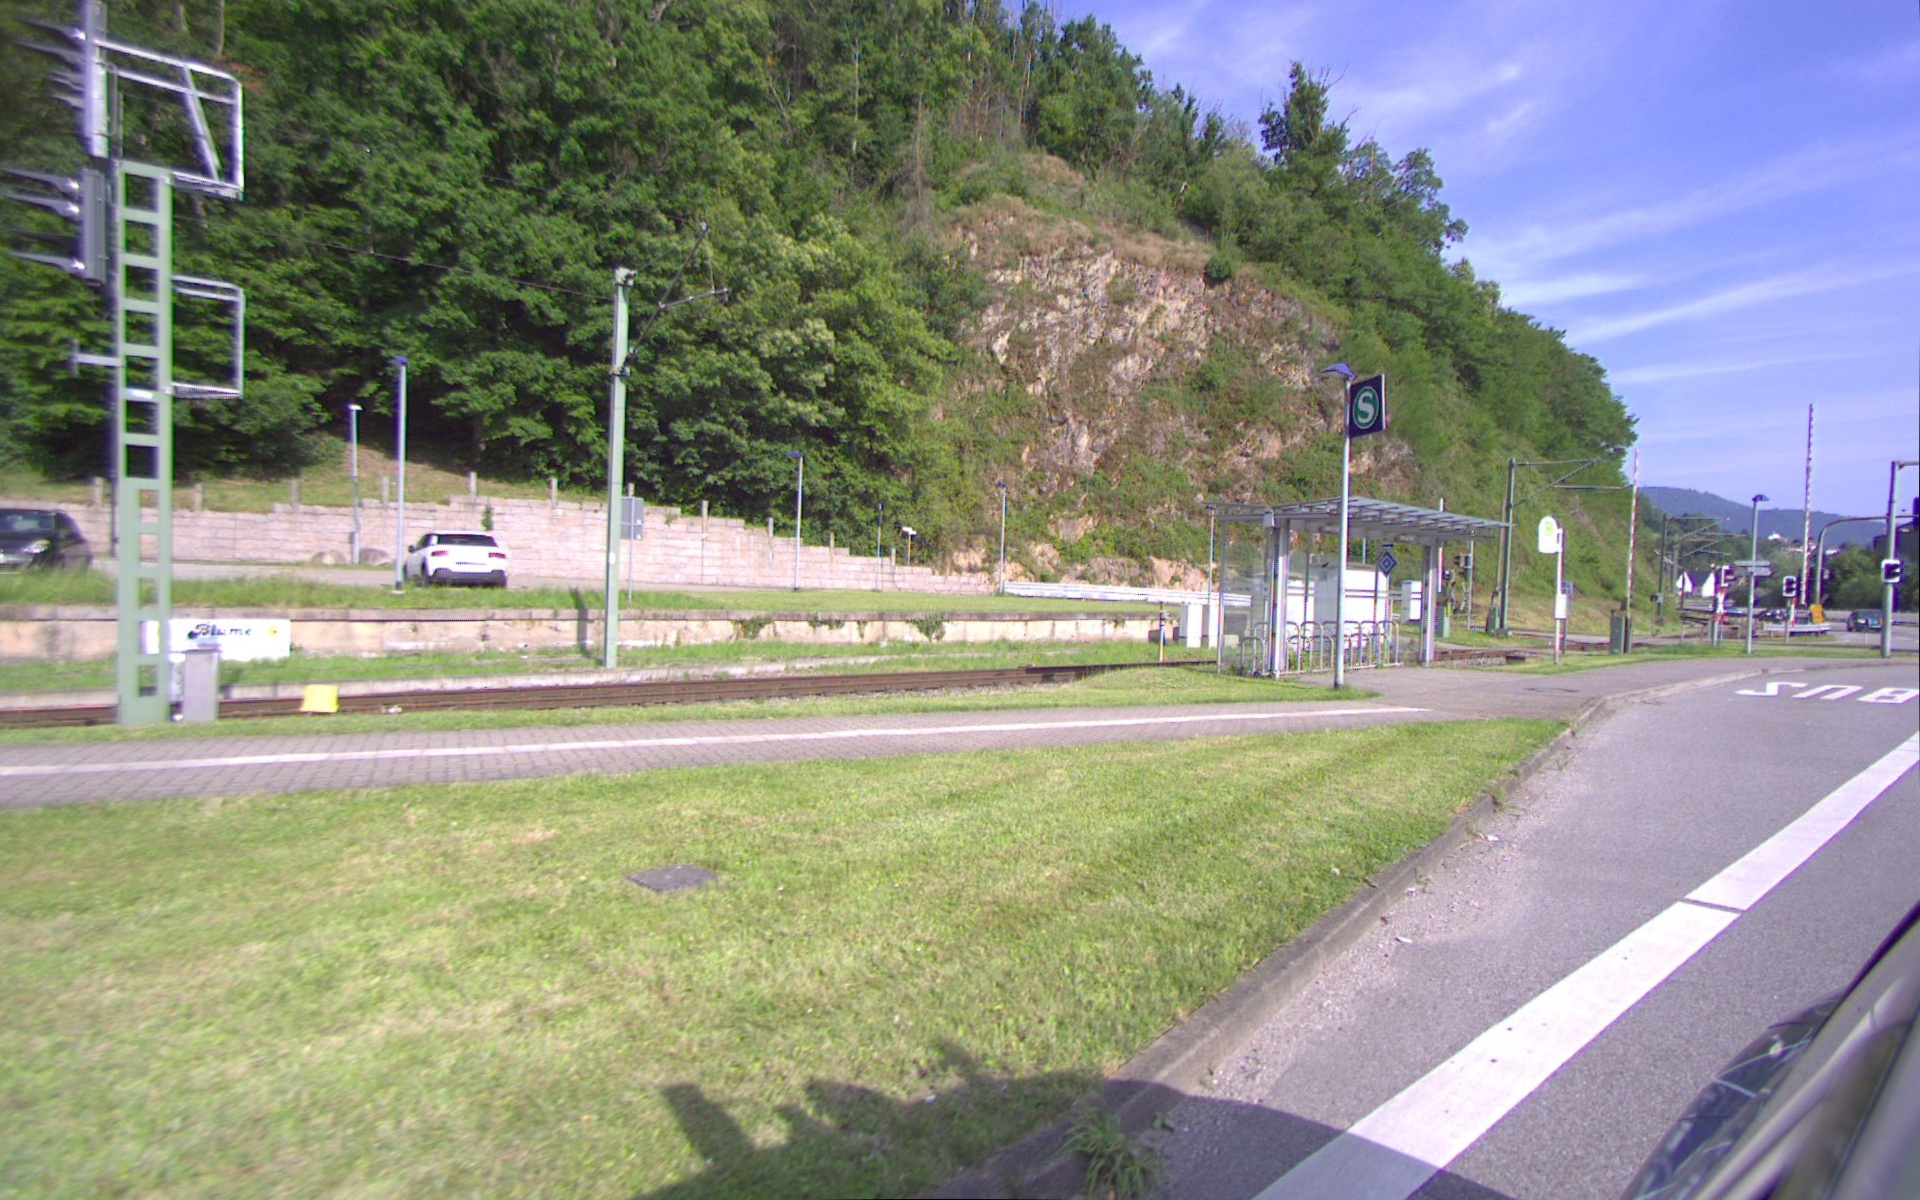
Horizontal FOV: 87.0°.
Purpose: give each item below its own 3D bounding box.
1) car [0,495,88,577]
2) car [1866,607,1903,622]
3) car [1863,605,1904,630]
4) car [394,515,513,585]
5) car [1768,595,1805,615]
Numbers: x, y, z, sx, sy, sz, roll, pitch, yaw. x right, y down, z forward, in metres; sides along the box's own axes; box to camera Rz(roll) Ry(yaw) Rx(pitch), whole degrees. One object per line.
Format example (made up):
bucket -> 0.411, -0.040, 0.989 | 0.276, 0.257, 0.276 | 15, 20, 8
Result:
car -> -17.636, -1.140, 18.807 | 1.797, 1.360, 4.278 | 1, 1, -36
car -> 81.053, 1.251, 88.771 | 1.637, 1.247, 4.048 | 1, 0, 31
car -> 62.142, 1.152, 68.137 | 1.761, 1.478, 3.526 | 3, 3, 39
car -> -11.679, -1.088, 23.190 | 1.776, 1.415, 4.109 | 1, 1, -36
car -> 80.453, 0.480, 98.510 | 1.982, 1.816, 3.961 | 2, 1, 28
